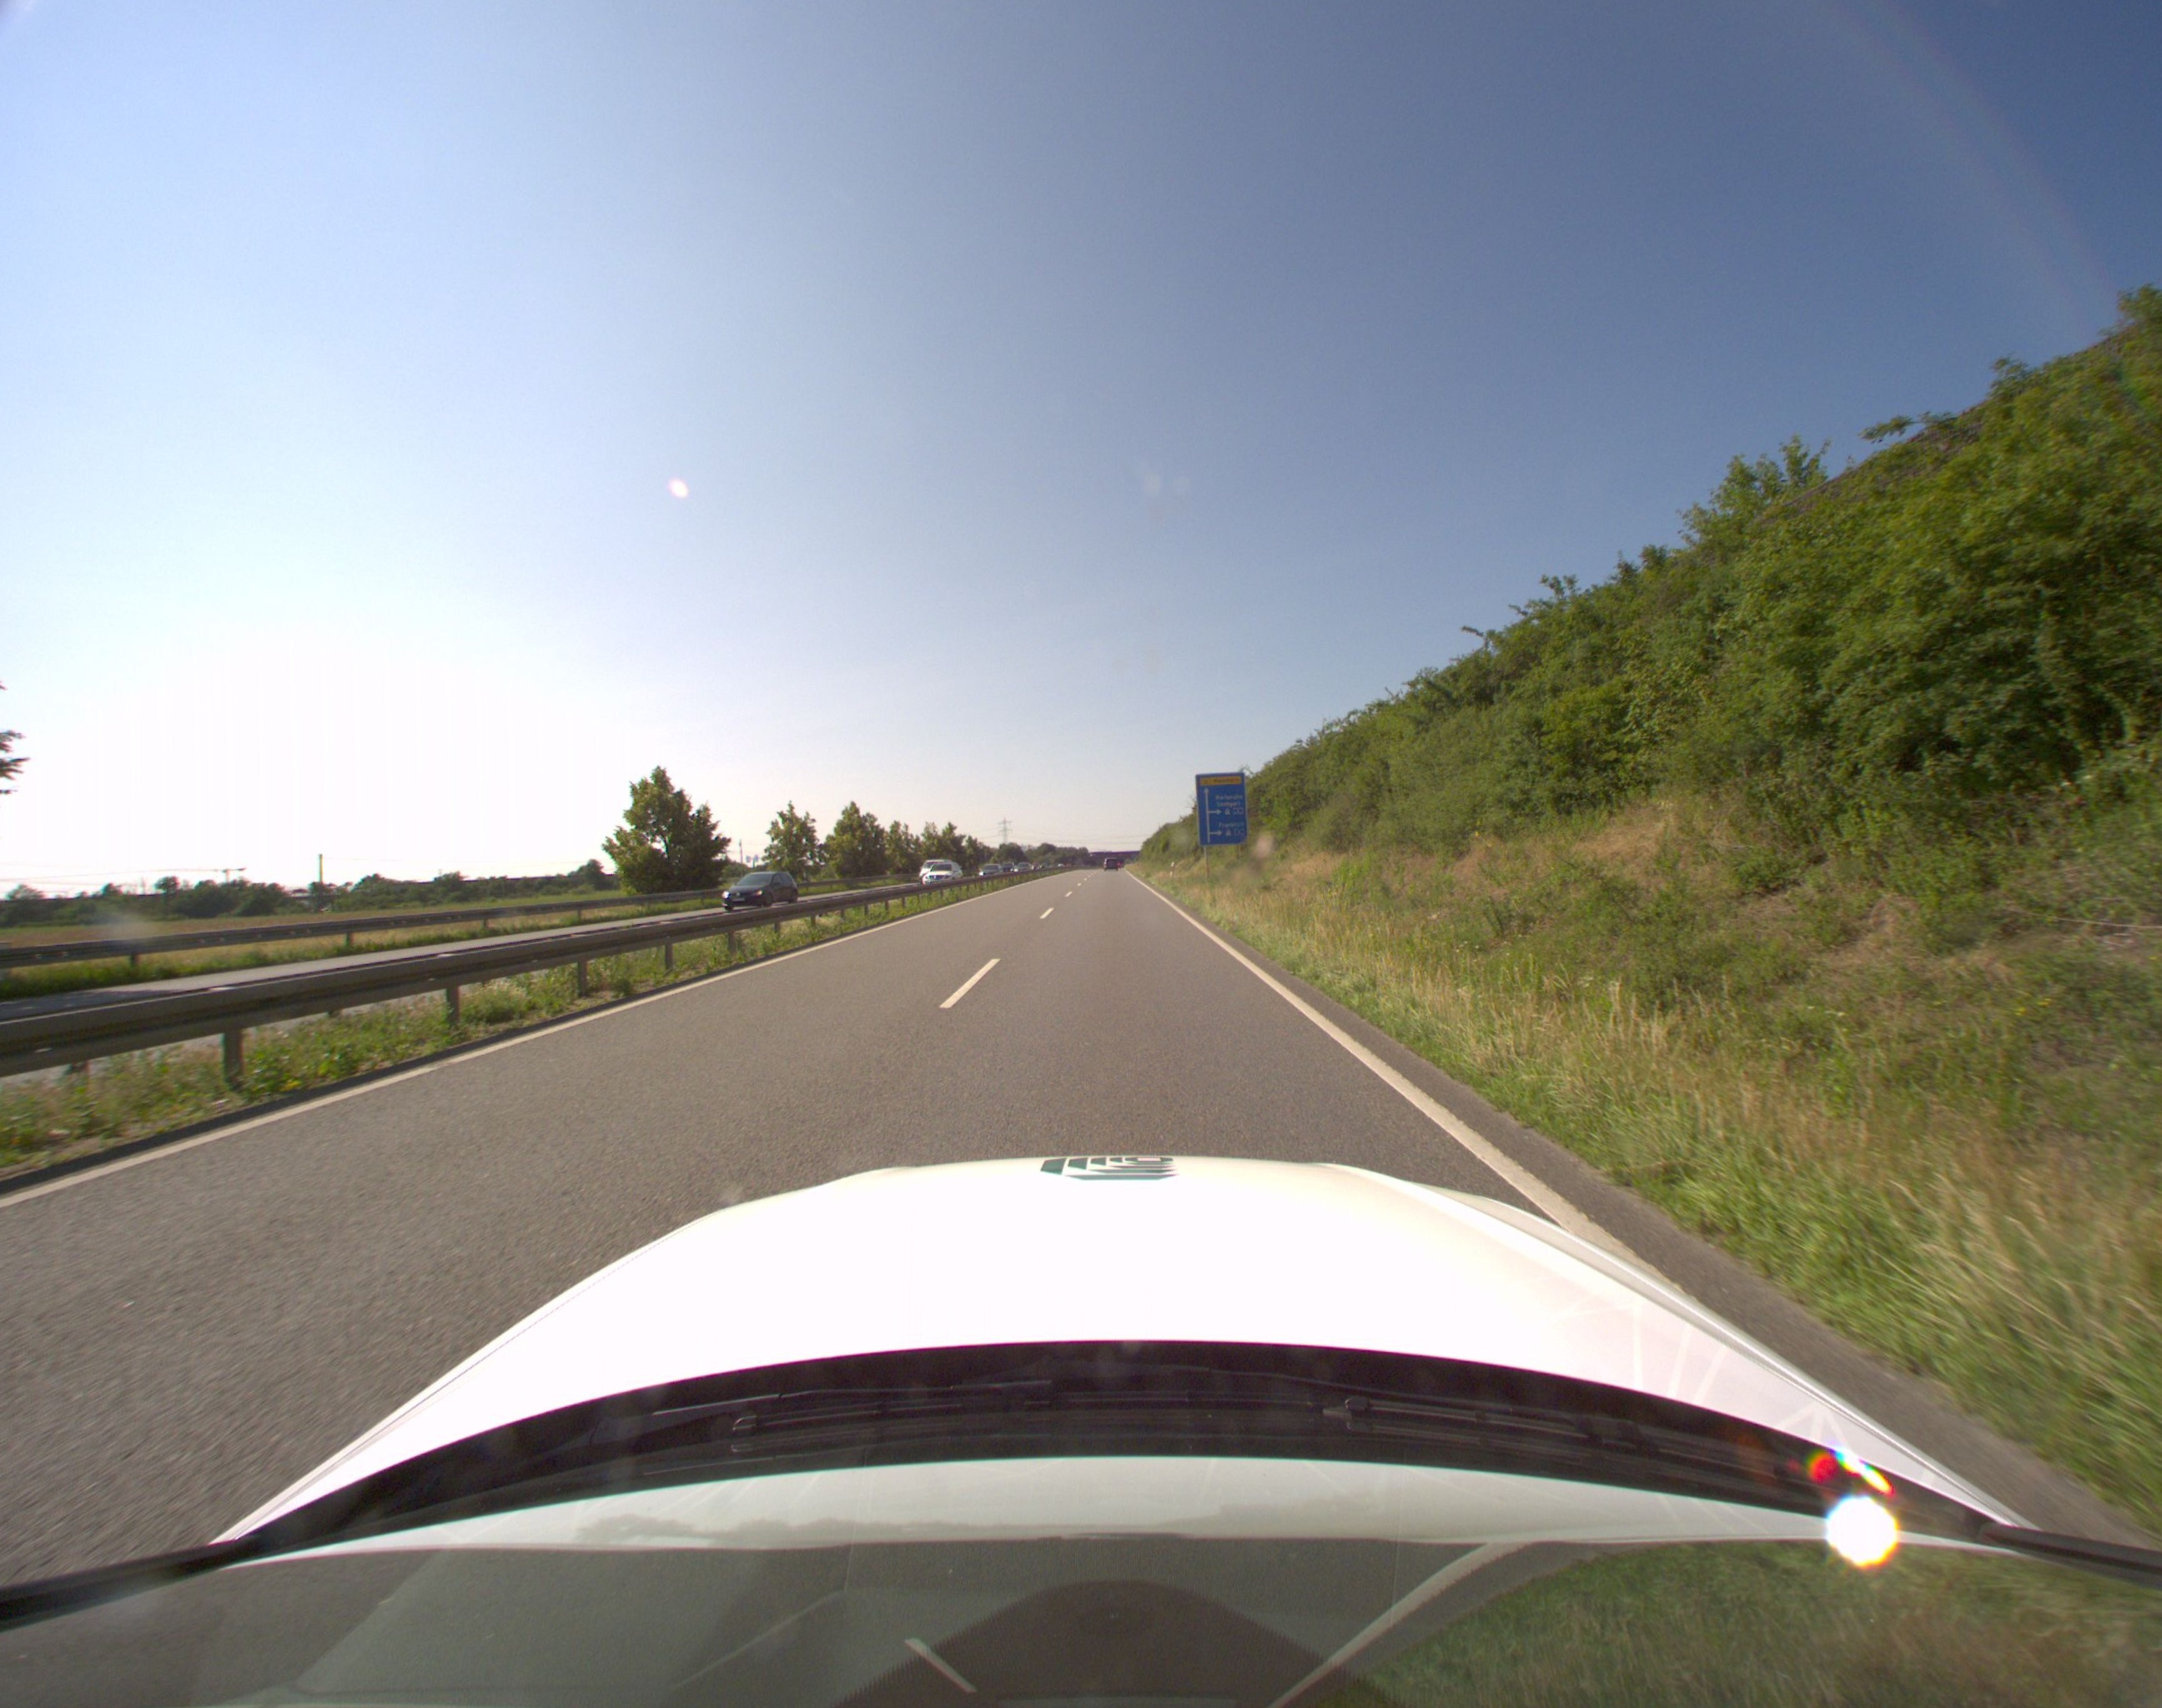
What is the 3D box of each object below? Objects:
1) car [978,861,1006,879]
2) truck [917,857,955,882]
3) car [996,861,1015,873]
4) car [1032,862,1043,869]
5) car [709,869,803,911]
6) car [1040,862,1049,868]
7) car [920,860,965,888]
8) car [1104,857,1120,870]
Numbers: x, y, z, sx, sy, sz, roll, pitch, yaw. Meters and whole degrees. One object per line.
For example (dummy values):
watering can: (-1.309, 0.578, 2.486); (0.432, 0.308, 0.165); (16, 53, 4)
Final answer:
car: (-7.781, 1.358, 71.445); (1.832, 1.446, 4.040); (0, 0, 2)
truck: (-11.682, 1.247, 65.956); (1.915, 1.840, 5.294); (-1, 0, 2)
car: (-10.035, 1.754, 108.543); (1.805, 1.542, 4.458); (-2, -1, 4)
car: (-9.333, 2.496, 175.007); (1.836, 1.593, 4.776); (-1, -1, 2)
car: (-13.039, 1.390, 32.980); (1.832, 1.472, 4.461); (-1, 0, 2)
car: (-8.928, 2.667, 199.520); (1.719, 1.595, 4.223); (-1, -1, 2)
car: (-8.706, 1.204, 51.656); (1.832, 1.665, 4.724); (-1, -1, 2)
car: (4.047, 1.212, 105.013); (1.841, 1.644, 4.005); (-2, -1, 5)
